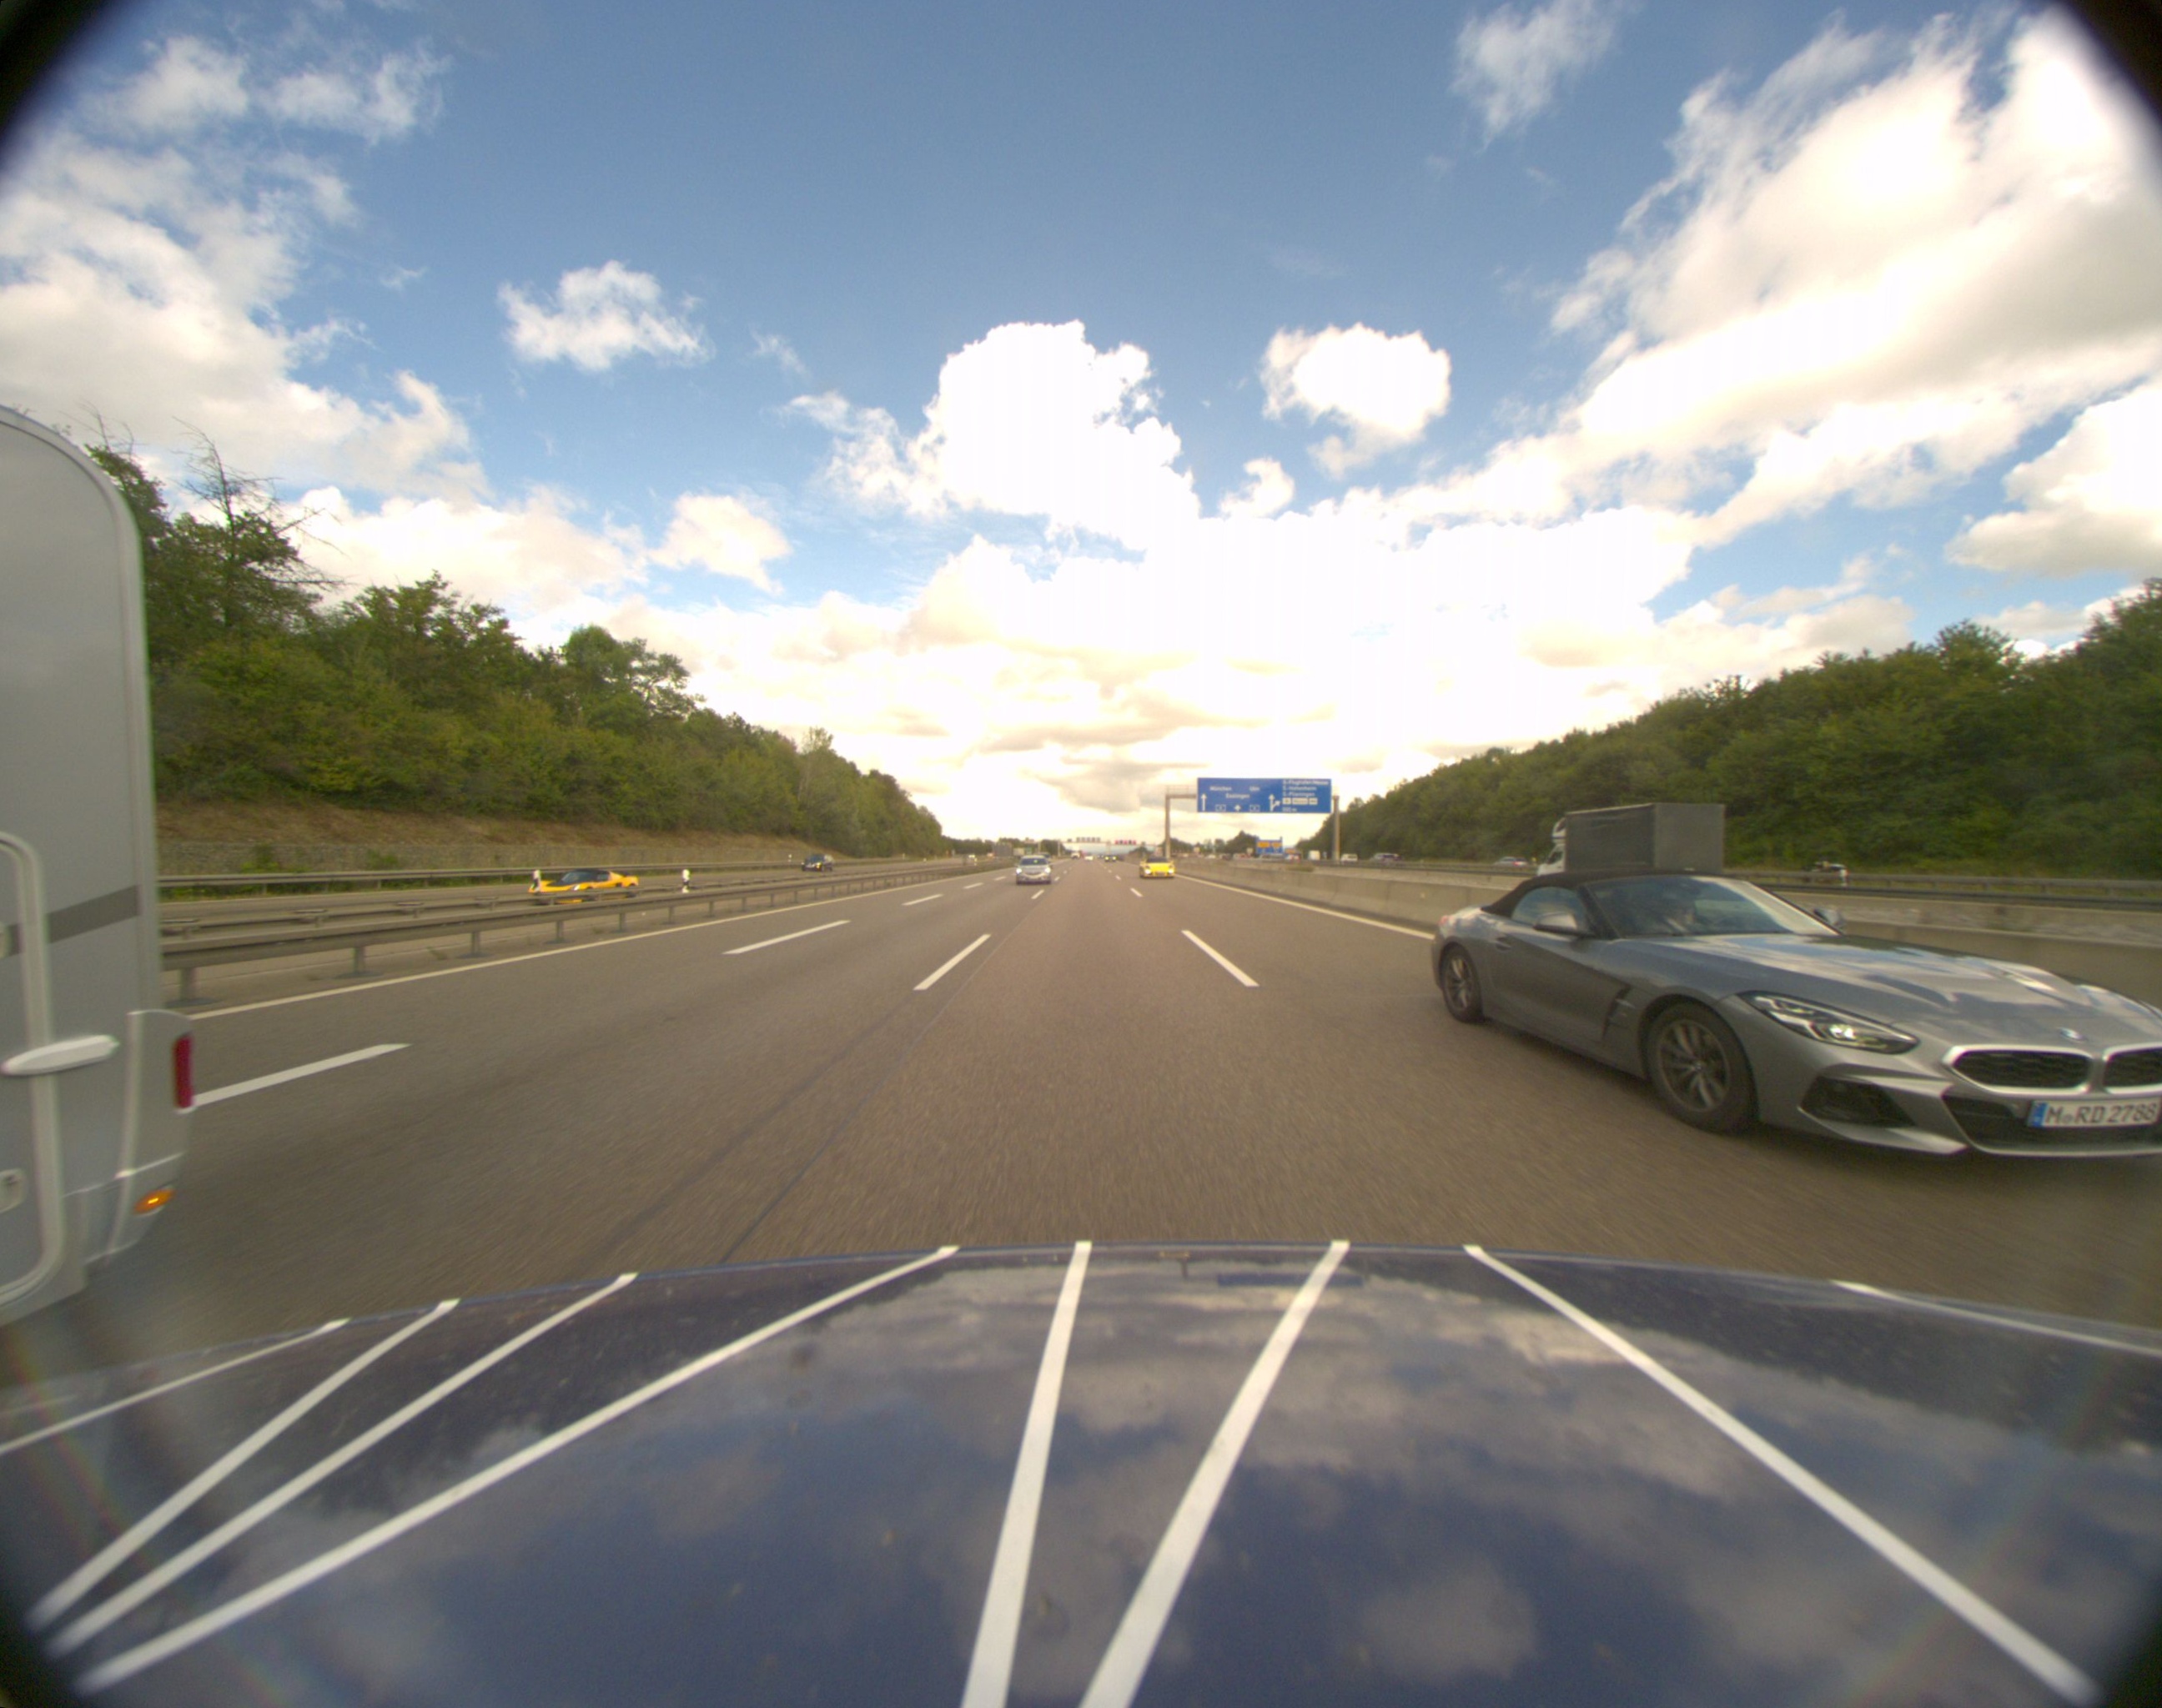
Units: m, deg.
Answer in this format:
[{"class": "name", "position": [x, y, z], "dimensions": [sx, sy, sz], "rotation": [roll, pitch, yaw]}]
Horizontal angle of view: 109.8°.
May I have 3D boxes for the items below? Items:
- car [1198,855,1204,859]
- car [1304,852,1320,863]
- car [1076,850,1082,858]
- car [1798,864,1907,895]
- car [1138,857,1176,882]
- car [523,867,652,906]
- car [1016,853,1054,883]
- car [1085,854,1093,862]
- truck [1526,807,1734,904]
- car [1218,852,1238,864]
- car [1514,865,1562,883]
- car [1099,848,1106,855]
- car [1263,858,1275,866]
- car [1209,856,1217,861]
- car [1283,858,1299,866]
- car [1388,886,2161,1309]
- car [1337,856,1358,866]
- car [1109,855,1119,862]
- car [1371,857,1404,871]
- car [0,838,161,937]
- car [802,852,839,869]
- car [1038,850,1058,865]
[{"class": "car", "position": [40.819, 1.151, 258.458], "dimensions": [1.647, 1.307, 4.247], "rotation": [1, 0, 0]}, {"class": "car", "position": [49.677, 0.827, 163.324], "dimensions": [1.998, 2.301, 5.685], "rotation": [1, 0, 2]}, {"class": "car", "position": [-0.696, -0.065, 245.533], "dimensions": [1.854, 2.565, 5.412], "rotation": [1, 0, 0]}, {"class": "car", "position": [41.708, 1.337, 41.220], "dimensions": [1.596, 1.486, 4.180], "rotation": [1, 0, 0]}, {"class": "car", "position": [4.470, 0.876, 45.053], "dimensions": [1.811, 1.307, 4.247], "rotation": [2, 0, 0]}, {"class": "car", "position": [-16.849, 1.060, 26.213], "dimensions": [1.716, 1.175, 4.168], "rotation": [0, 0, 0]}, {"class": "car", "position": [-2.378, 0.679, 40.155], "dimensions": [1.687, 1.476, 4.615], "rotation": [0, 0, 0]}, {"class": "car", "position": [1.773, 0.889, 163.215], "dimensions": [1.736, 1.608, 4.000], "rotation": [0, 0, 1]}, {"class": "truck", "position": [20.673, 0.033, 29.372], "dimensions": [2.359, 3.244, 7.825], "rotation": [0, 0, 0]}, {"class": "car", "position": [22.067, 0.600, 114.112], "dimensions": [1.839, 1.775, 5.503], "rotation": [1, 0, 0]}, {"class": "car", "position": [41.590, 1.791, 69.225], "dimensions": [1.596, 1.486, 4.509], "rotation": [1, 0, 0]}, {"class": "car", "position": [6.837, -0.802, 240.248], "dimensions": [1.998, 2.002, 4.589], "rotation": [1, 0, 1]}, {"class": "car", "position": [40.477, 1.745, 163.573], "dimensions": [1.662, 1.637, 4.000], "rotation": [1, 0, 0]}, {"class": "car", "position": [36.962, 1.309, 212.595], "dimensions": [1.680, 1.508, 4.369], "rotation": [1, 0, 2]}, {"class": "car", "position": [38.846, 1.426, 140.738], "dimensions": [1.662, 1.435, 4.323], "rotation": [1, 0, 0]}, {"class": "car", "position": [4.009, 0.972, 5.174], "dimensions": [1.878, 1.295, 4.942], "rotation": [0, 0, 0]}, {"class": "car", "position": [44.981, 1.187, 128.323], "dimensions": [1.739, 1.624, 4.947], "rotation": [1, 0, 0]}, {"class": "car", "position": [5.923, 0.825, 137.802], "dimensions": [1.593, 1.307, 3.978], "rotation": [2, 0, 0]}, {"class": "car", "position": [35.445, 1.111, 88.067], "dimensions": [1.998, 1.583, 4.768], "rotation": [1, 0, 1]}, {"class": "car", "position": [-19.982, 0.592, 13.327], "dimensions": [1.848, 1.741, 4.764], "rotation": [0, 0, 1]}, {"class": "car", "position": [-22.526, 0.530, 65.871], "dimensions": [1.716, 1.407, 4.169], "rotation": [0, 0, 1]}, {"class": "car", "position": [-3.599, 0.396, 83.177], "dimensions": [1.876, 1.626, 4.859], "rotation": [0, 0, 1]}]
